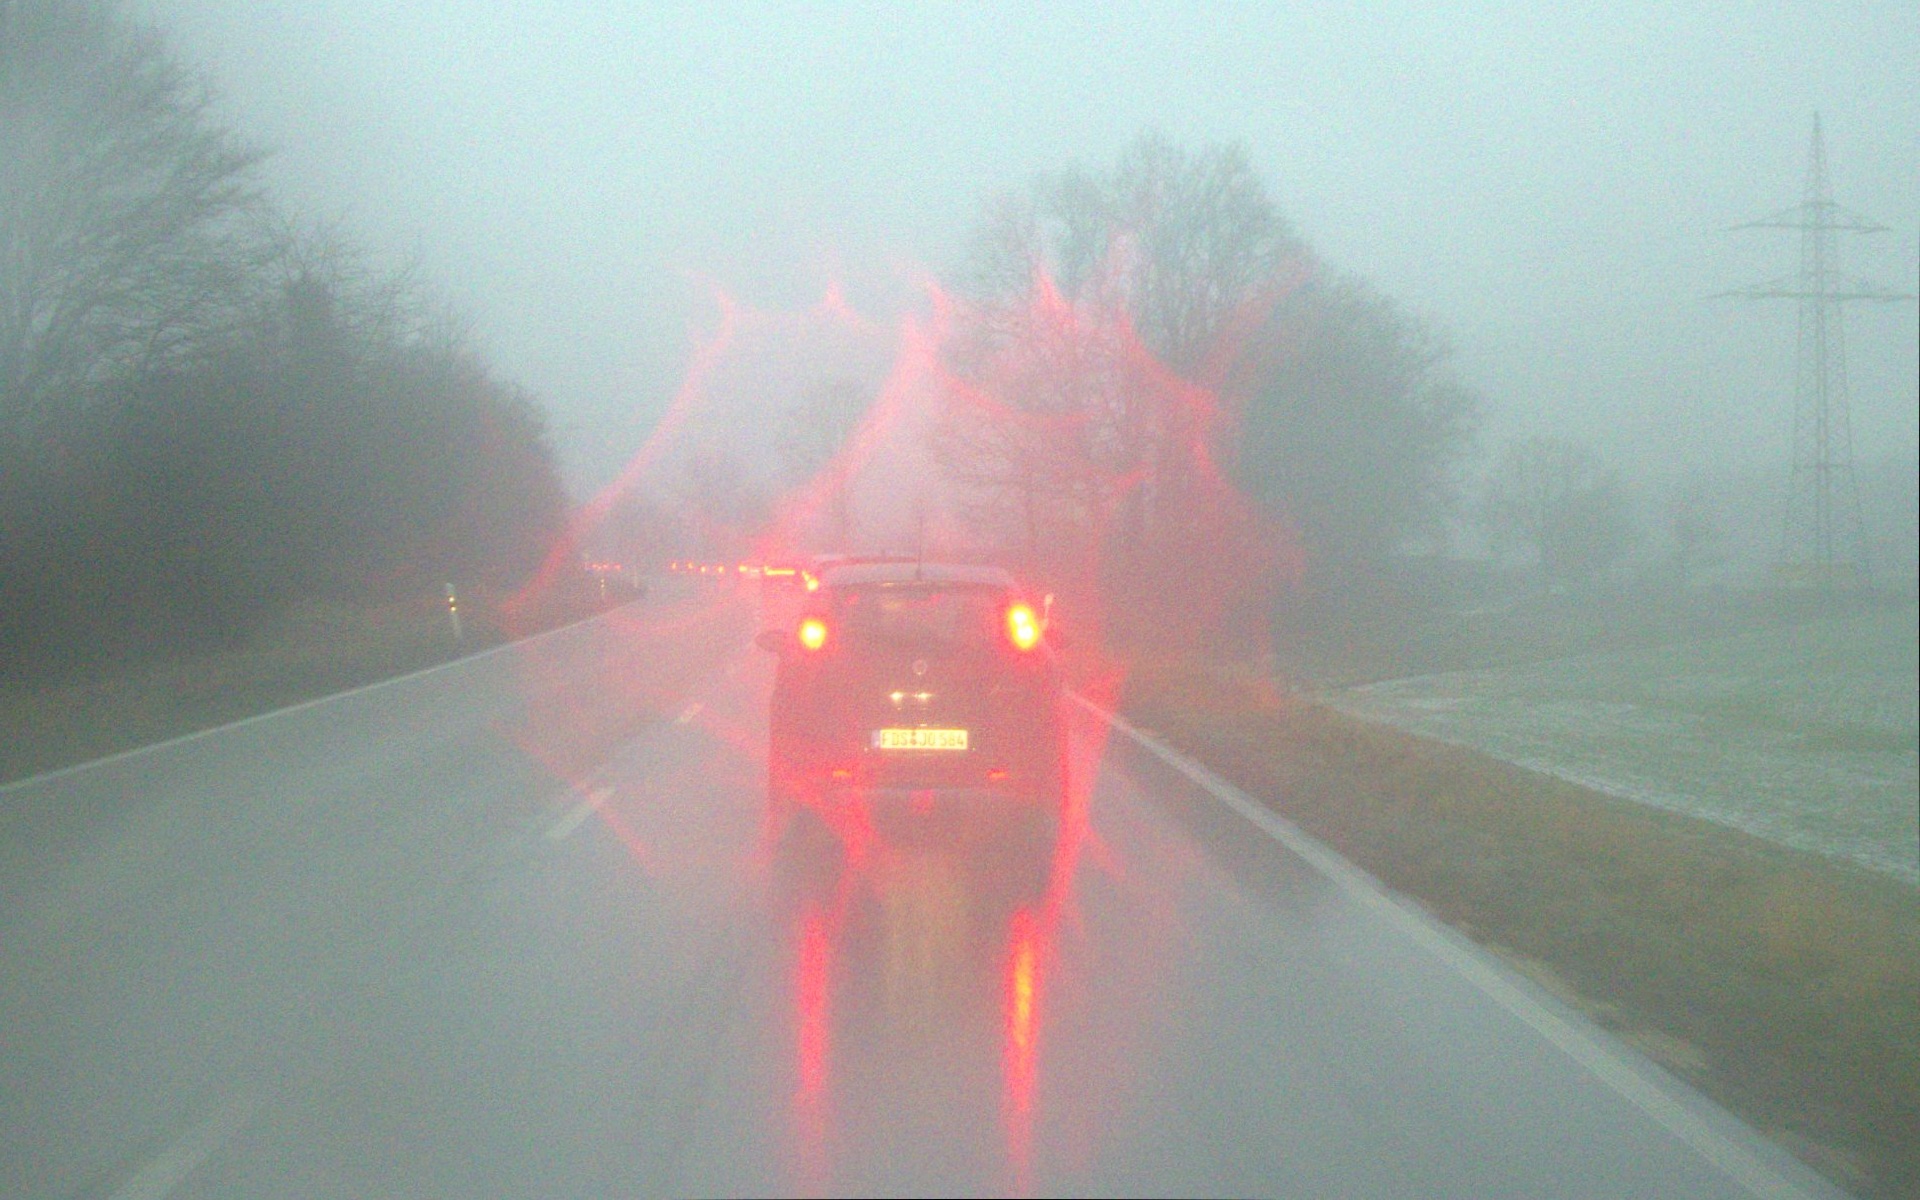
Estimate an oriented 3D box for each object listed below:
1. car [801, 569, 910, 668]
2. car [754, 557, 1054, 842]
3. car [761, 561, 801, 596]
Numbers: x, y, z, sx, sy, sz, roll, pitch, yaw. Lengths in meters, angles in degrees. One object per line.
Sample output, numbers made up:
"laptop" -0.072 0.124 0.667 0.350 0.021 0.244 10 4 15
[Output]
"car" -1.565 0.243 50.970 1.547 1.392 3.870 1 1 -2
"car" -0.289 0.518 20.504 1.602 1.517 3.869 1 1 0
"car" -7.454 -0.898 143.295 1.547 1.392 3.870 1 1 -1
